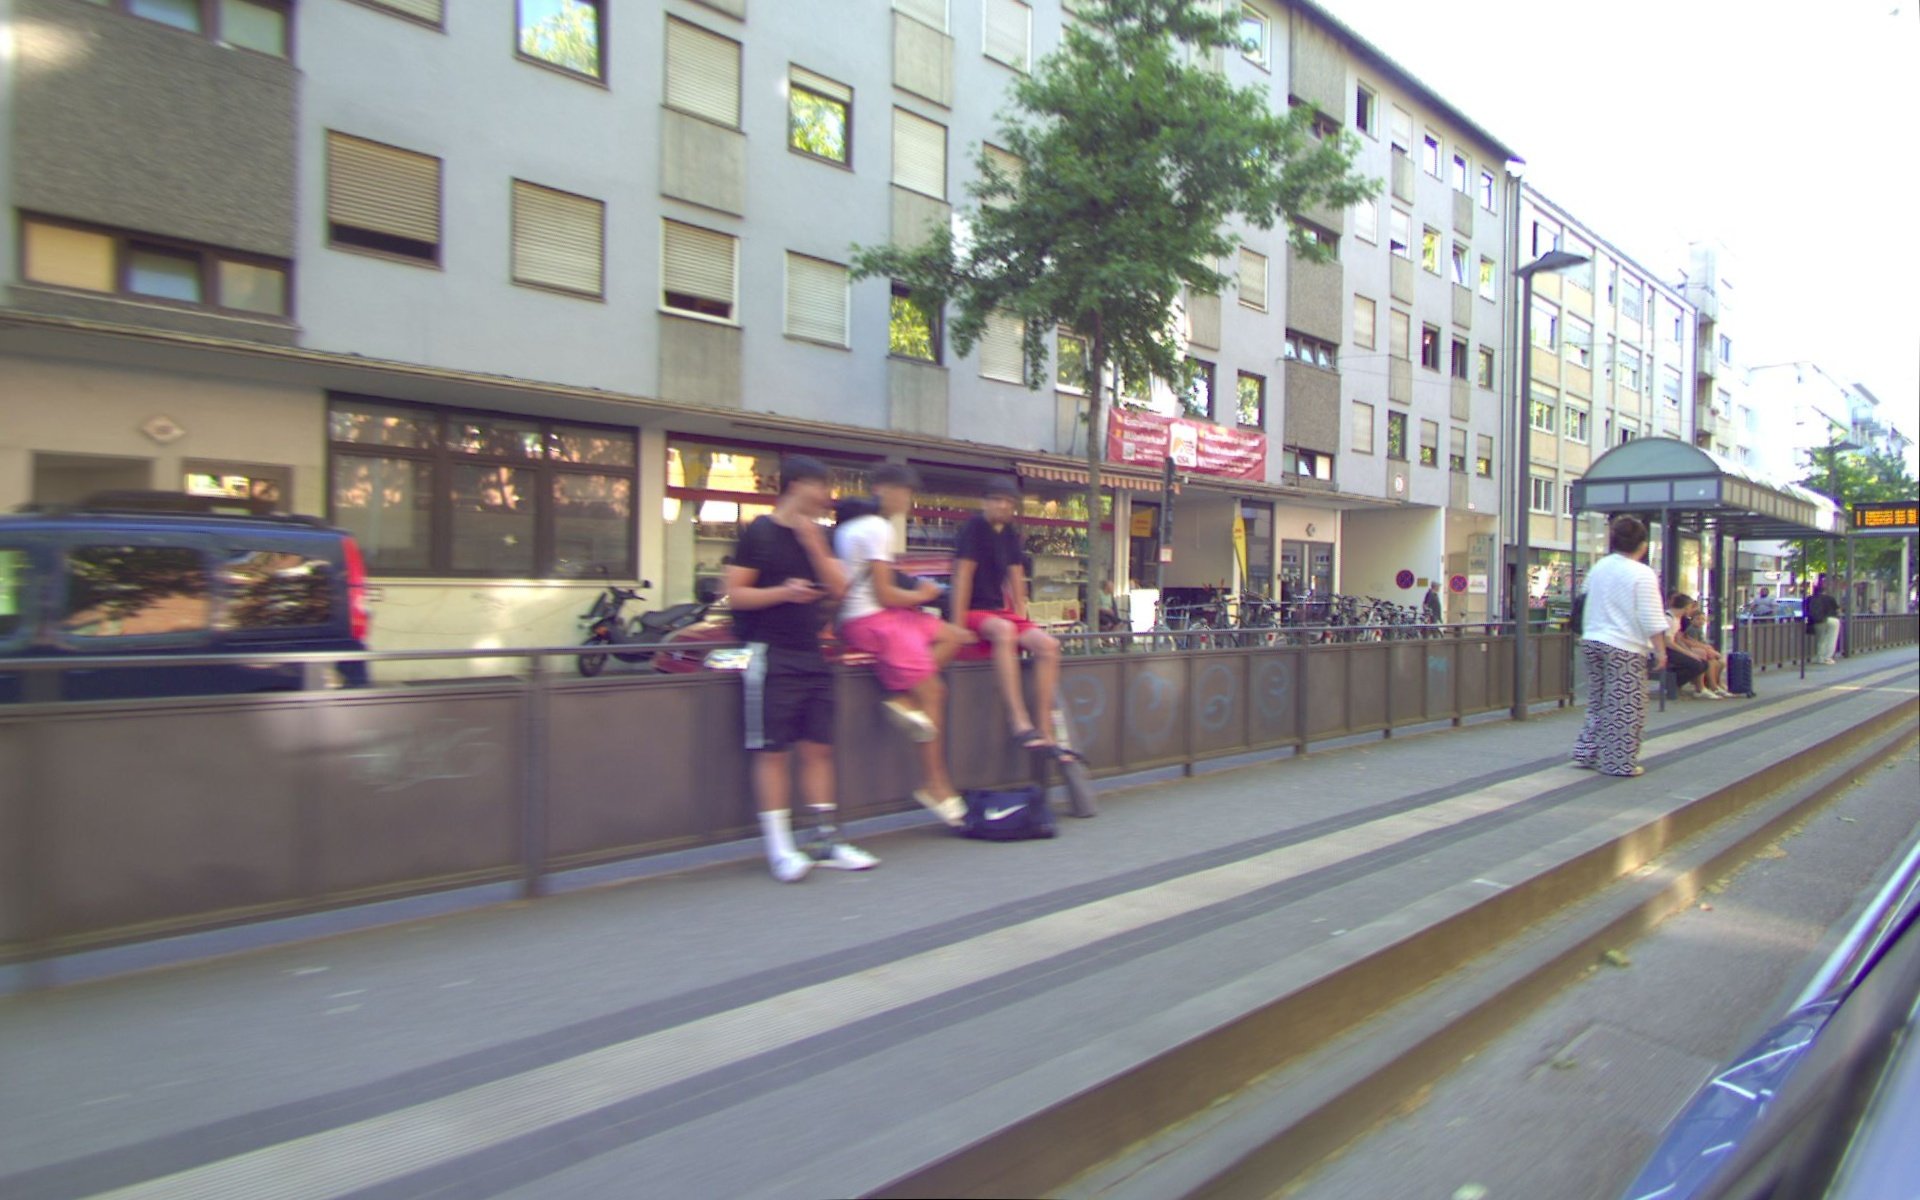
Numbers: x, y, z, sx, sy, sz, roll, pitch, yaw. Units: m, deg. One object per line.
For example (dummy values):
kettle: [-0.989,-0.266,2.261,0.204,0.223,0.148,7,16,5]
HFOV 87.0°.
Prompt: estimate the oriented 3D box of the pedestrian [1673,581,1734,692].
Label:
pedestrian: [9.180,0.435,12.493,0.583,1.322,0.519,-1,-1,39]

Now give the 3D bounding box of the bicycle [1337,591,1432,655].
bicycle: [8.968,0.471,21.308,0.772,1.194,2.738,8,5,44]

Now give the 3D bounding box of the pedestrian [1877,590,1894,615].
pedestrian: [61.862,0.182,67.673,0.954,1.675,0.751,0,0,-42]

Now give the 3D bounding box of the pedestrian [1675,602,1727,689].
pedestrian: [9.396,0.558,12.833,0.519,1.069,0.420,0,0,39]

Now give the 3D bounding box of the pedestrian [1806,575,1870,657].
pedestrian: [17.518,0.312,20.197,0.836,1.596,0.650,0,0,-23]

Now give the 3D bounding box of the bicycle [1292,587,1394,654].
bicycle: [7.741,0.410,20.369,0.772,1.194,2.738,8,5,44]

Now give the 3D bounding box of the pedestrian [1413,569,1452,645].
pedestrian: [11.589,0.164,24.828,0.768,1.827,0.672,0,1,34]

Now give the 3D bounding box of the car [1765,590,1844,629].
car: [36.023,0.363,43.150,3.930,1.601,1.997,0,0,-41]

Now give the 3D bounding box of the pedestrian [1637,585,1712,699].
pedestrian: [8.678,0.487,12.295,0.718,1.343,0.486,0,0,39]

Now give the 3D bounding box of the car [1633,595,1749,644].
car: [23.991,0.604,33.165,4.576,1.502,1.958,0,0,-39]

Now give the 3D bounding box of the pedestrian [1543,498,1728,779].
pedestrian: [4.414,0.232,6.668,0.627,1.734,0.837,0,0,-4]

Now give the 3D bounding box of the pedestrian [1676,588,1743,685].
pedestrian: [9.750,0.457,13.158,0.677,1.220,0.640,0,0,39]

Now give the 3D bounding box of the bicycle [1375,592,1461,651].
bicycle: [10.367,0.480,22.837,0.772,1.194,2.738,8,5,44]

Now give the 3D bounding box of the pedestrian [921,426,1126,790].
pedestrian: [0.332,0.034,5.326,0.844,1.722,0.682,0,0,43]

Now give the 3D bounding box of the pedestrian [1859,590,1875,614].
pedestrian: [64.116,0.153,71.562,0.954,1.675,0.751,0,0,-42]

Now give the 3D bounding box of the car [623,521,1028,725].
car: [-1.294,0.187,10.864,4.102,1.777,1.691,0,0,-42]

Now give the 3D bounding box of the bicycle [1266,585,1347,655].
bicycle: [6.873,0.354,19.947,0.768,1.194,2.750,7,4,33]

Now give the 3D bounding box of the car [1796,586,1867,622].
car: [41.184,0.171,47.788,3.930,1.612,1.997,0,0,-41]

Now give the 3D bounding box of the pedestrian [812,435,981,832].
pedestrian: [-0.315,0.148,4.943,0.689,1.792,0.495,0,0,-26]

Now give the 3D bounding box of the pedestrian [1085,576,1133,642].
pedestrian: [2.834,0.162,19.261,0.677,1.220,0.640,0,0,39]

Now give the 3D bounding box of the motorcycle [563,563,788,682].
motorcycle: [-3.663,0.285,13.222,2.605,1.332,0.954,2,5,-43]

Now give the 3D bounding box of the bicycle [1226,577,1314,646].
bicycle: [6.147,0.201,19.960,0.769,1.194,2.748,7,4,34]

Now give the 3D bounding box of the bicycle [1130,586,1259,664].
bicycle: [4.076,0.382,17.431,0.772,1.194,2.738,6,5,45]

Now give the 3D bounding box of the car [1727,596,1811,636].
car: [31.807,0.585,39.769,3.930,1.505,1.897,0,0,-41]

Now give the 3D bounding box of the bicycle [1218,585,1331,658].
bicycle: [5.990,0.357,19.149,0.772,1.193,2.738,8,7,44]

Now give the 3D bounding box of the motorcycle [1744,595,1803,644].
motorcycle: [25.575,0.589,31.805,2.170,1.473,1.054,0,0,-41]

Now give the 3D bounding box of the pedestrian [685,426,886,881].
pedestrian: [-0.763,0.204,4.401,0.687,1.777,0.571,0,0,43]

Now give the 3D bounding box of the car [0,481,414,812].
car: [-6.109,0.196,6.665,4.118,1.918,2.000,0,4,-39]
